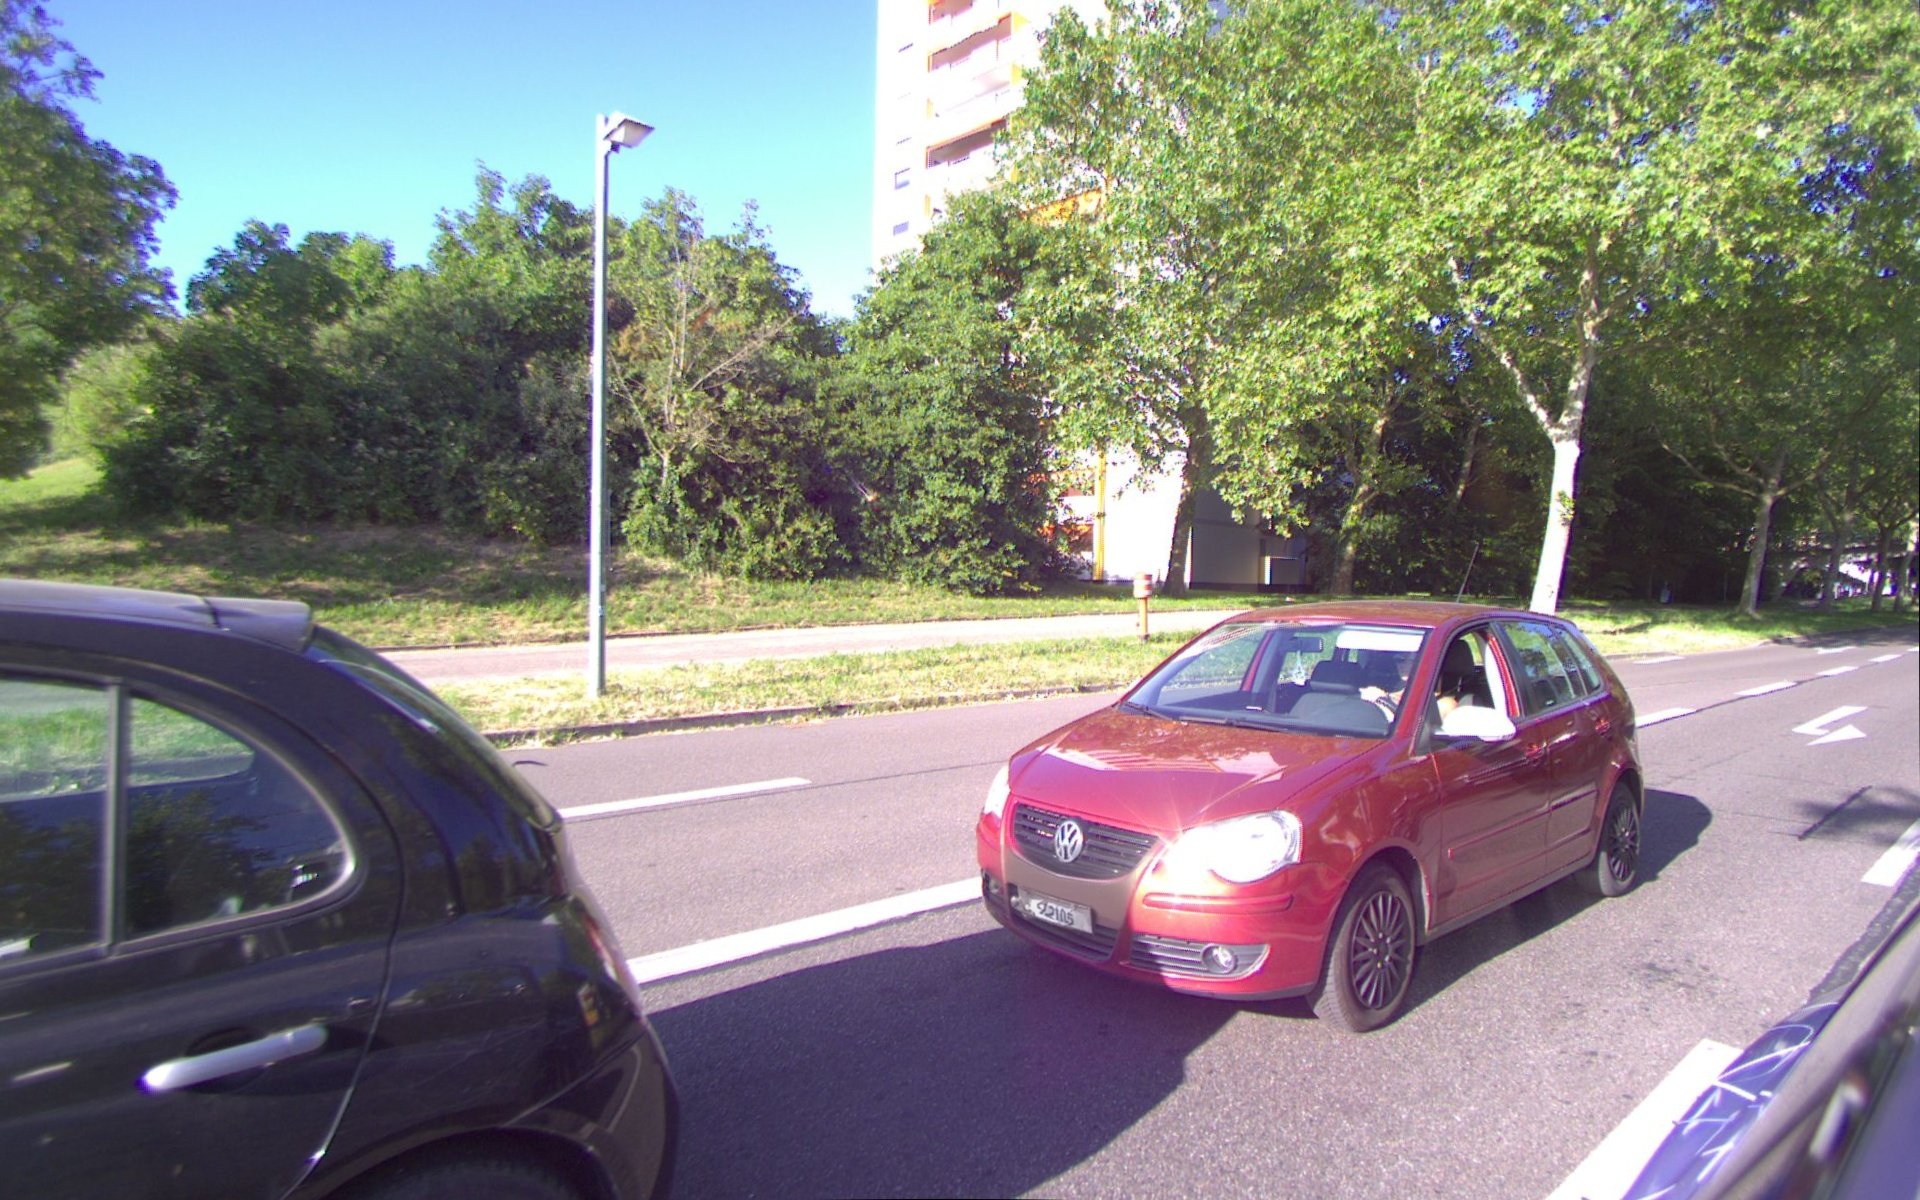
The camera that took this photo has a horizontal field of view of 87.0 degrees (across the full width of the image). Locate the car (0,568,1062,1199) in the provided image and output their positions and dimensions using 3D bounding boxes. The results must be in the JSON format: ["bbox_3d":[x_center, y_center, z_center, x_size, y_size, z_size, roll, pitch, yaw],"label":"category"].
[{"bbox_3d":[-2.035,0.694,1.585,4.541,1.501,1.738,0,1,-41],"label":"car"}]

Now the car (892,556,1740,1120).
[{"bbox_3d":[2.073,0.639,4.983,4.641,1.578,1.772,0,1,-39],"label":"car"}]
